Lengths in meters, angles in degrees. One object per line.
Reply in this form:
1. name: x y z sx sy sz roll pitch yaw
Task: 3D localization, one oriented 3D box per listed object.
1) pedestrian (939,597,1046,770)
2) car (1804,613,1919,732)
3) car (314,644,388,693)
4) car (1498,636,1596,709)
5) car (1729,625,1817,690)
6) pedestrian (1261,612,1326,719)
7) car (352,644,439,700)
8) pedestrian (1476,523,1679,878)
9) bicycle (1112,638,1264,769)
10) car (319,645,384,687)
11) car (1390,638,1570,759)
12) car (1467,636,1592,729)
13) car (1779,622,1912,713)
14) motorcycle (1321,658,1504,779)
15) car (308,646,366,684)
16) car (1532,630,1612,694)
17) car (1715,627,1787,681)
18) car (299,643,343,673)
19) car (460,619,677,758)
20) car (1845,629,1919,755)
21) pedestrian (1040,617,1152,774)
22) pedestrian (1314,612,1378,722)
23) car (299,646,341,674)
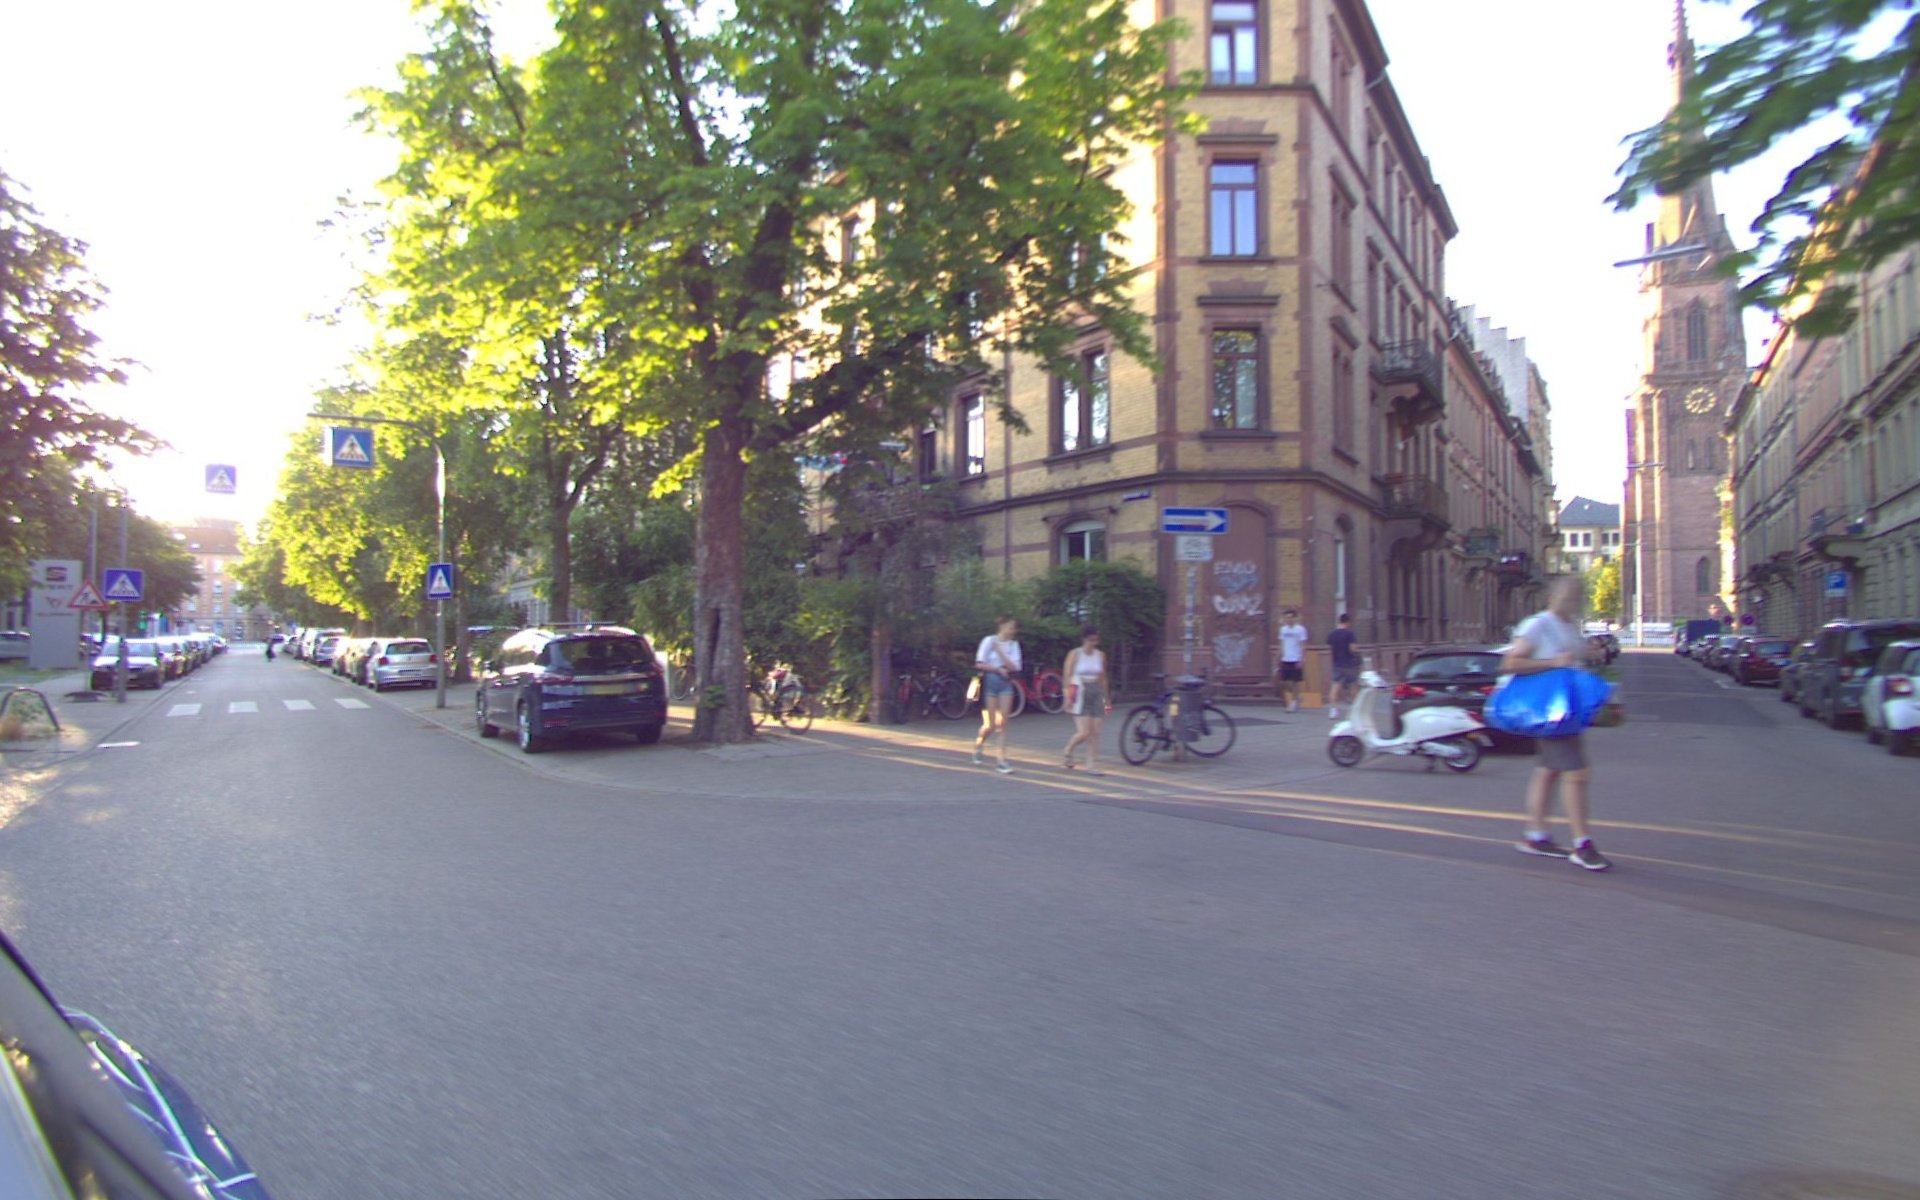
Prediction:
1. pedestrian: 0.371 0.910 11.334 1.005 1.849 0.681 -1 -3 29
2. car: 15.728 1.191 17.192 1.684 1.837 3.448 -3 -4 34
3. car: -20.084 2.223 33.293 1.592 1.452 4.319 0 -2 -38
4. car: 13.308 1.597 22.843 1.575 1.470 4.373 -3 -4 34
5. car: 24.469 1.733 30.563 1.684 1.837 3.448 -3 -4 34
6. pedestrian: 6.070 1.161 18.405 0.781 1.837 0.912 2 1 43
7. car: -16.561 2.075 29.614 1.592 1.452 3.761 -2 -1 -39
8. pedestrian: 3.926 0.596 6.453 1.007 2.029 0.859 -2 -3 34
9. bicycle: 2.645 1.159 11.710 1.769 1.403 0.520 1 -1 -25
10. car: -22.797 2.432 37.832 1.592 1.452 4.319 0 -2 -38
11. car: 7.529 1.311 14.468 1.783 1.470 3.971 -3 -4 34
12. car: 10.430 1.430 18.381 1.575 1.470 4.373 -3 -4 34
13. car: 19.413 1.468 22.335 1.684 1.837 3.448 -3 -4 34
14. motorcycle: 5.086 1.300 11.509 0.465 1.266 1.865 2 -4 -38
15. car: -25.719 2.659 41.717 1.592 1.452 4.113 0 -2 -38
16. car: 16.516 1.647 27.231 1.575 1.584 4.071 -3 -4 34
17. car: 28.126 1.930 36.074 1.684 1.837 3.448 -3 -4 34
18. car: -33.241 3.000 52.595 1.592 1.452 4.113 0 -2 -38
19. car: -5.914 1.197 14.925 1.842 1.700 4.602 0 -2 -36
20. car: 13.531 1.216 14.057 1.464 1.606 3.293 -3 -4 35
21. pedestrian: 1.500 1.018 11.149 1.048 1.643 0.681 -1 -3 29
22. pedestrian: 6.696 1.132 17.567 0.780 1.837 0.689 0 1 -33
23. car: -35.747 3.303 56.474 1.592 1.452 4.113 0 -2 -38
